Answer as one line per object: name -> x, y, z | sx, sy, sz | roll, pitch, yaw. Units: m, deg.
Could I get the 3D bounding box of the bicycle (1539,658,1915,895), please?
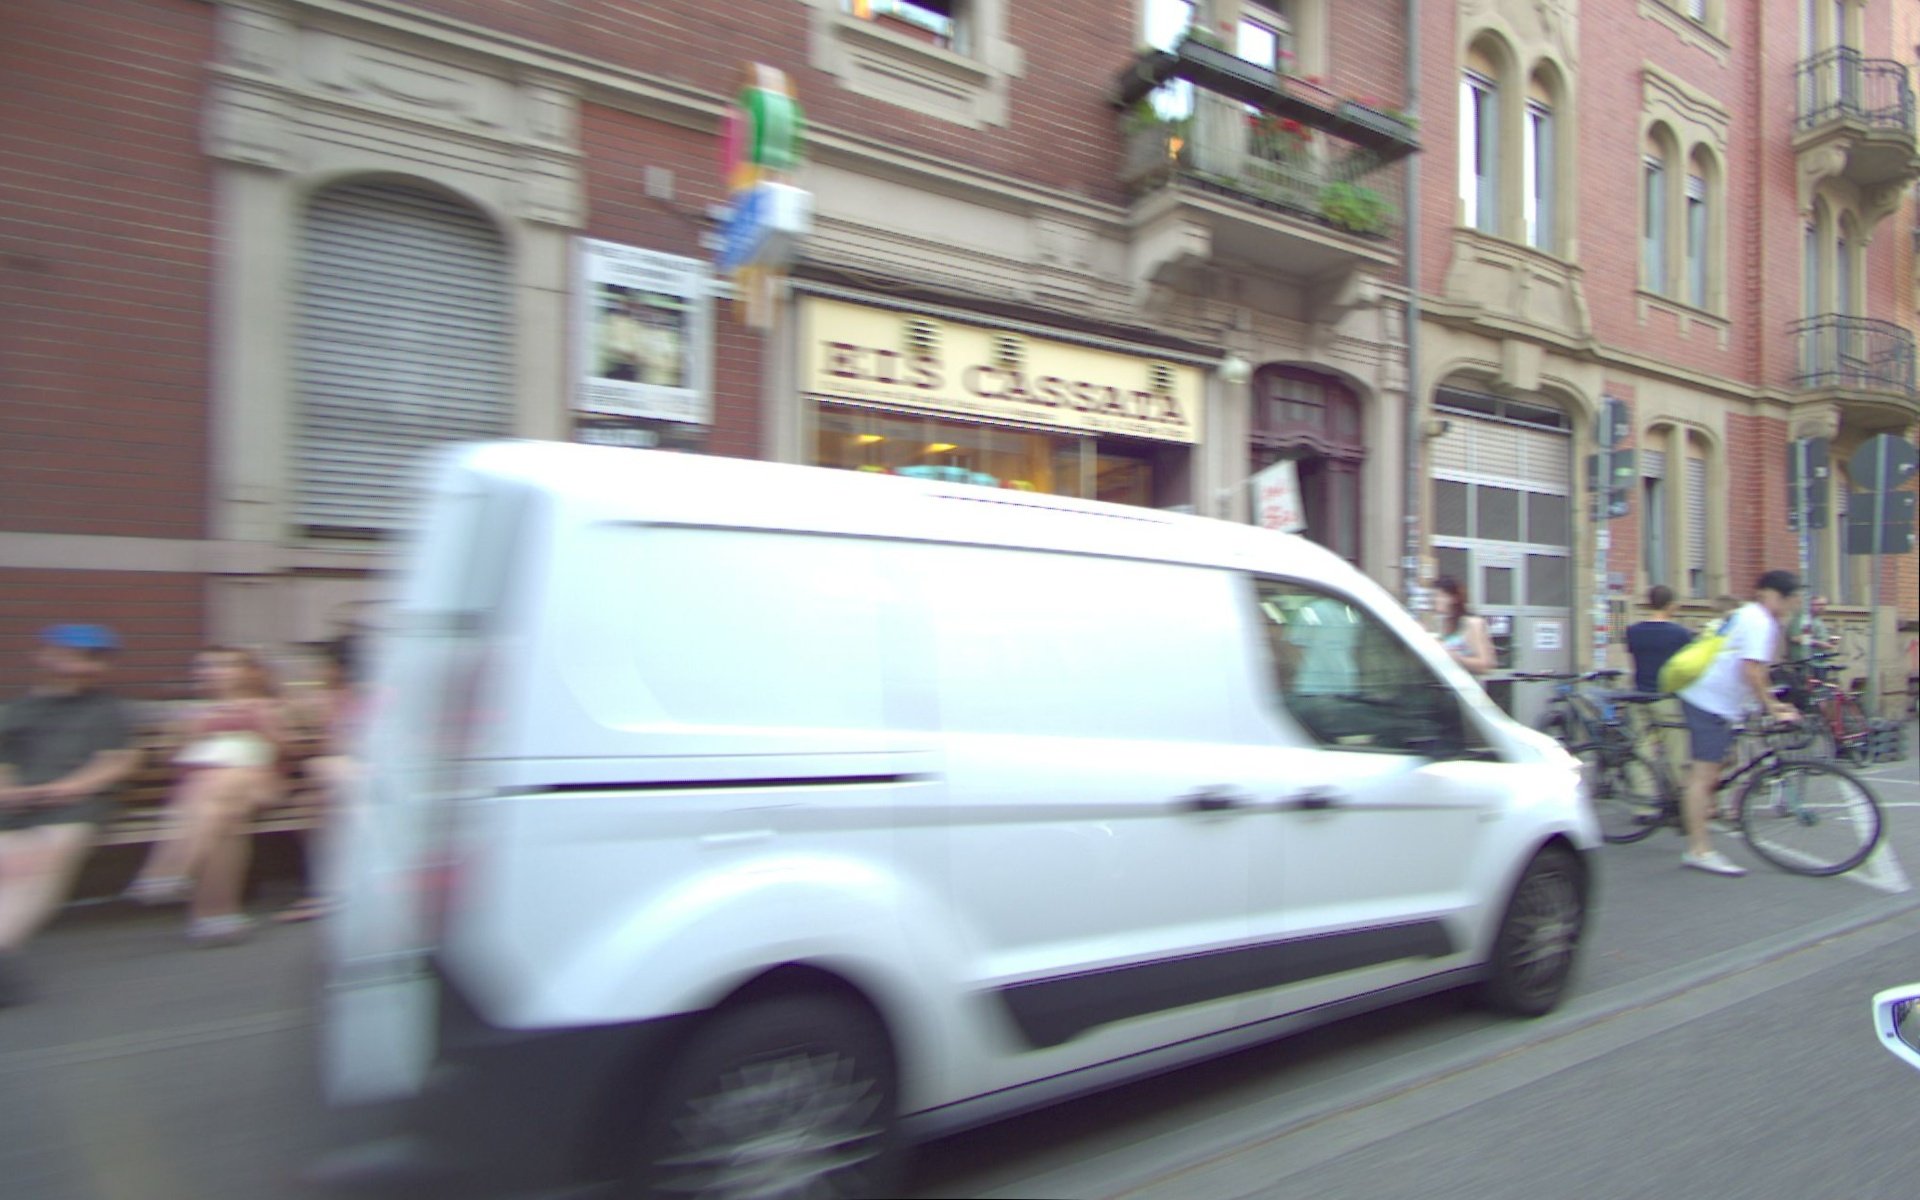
bicycle -> 4.635, 0.999, 6.197 | 1.755, 1.170, 0.518 | 2, 0, 39

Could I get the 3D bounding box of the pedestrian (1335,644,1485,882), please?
pedestrian -> 2.594, 0.902, 5.804 | 0.645, 1.267, 0.476 | 2, 0, -30

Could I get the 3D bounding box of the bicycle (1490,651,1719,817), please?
bicycle -> 5.050, 1.010, 7.835 | 1.972, 1.170, 0.464 | 2, 0, -23

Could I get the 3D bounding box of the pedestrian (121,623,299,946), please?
pedestrian -> -3.278, 0.732, 4.458 | 0.498, 1.219, 1.033 | 2, 0, -31

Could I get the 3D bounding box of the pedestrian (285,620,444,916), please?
pedestrian -> -2.816, 0.742, 4.769 | 0.579, 1.268, 0.615 | 2, 0, -32

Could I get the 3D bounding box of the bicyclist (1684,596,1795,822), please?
bicyclist -> 5.800, 0.786, 7.480 | 0.481, 1.611, 0.464 | 2, 0, -27

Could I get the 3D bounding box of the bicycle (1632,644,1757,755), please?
bicycle -> 8.323, 1.101, 11.357 | 1.815, 1.175, 0.410 | 2, 0, -29

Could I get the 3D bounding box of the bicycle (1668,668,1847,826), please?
bicycle -> 6.050, 1.073, 7.606 | 1.501, 1.082, 0.464 | 2, 0, -27

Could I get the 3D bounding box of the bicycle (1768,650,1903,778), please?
bicycle -> 8.742, 1.103, 10.008 | 1.815, 1.175, 0.410 | 2, 0, -29

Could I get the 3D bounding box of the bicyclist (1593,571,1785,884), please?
bicyclist -> 4.356, 0.708, 6.023 | 0.524, 1.726, 0.781 | 2, 0, -37

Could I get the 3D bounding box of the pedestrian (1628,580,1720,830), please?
pedestrian -> 5.146, 0.730, 7.243 | 0.347, 1.731, 0.415 | 2, 0, -35

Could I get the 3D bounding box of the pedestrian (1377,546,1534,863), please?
pedestrian -> 3.103, 0.613, 6.288 | 0.714, 1.838, 0.593 | 2, 0, -38

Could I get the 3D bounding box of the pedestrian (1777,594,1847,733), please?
pedestrian -> 11.417, 0.833, 13.463 | 0.633, 1.813, 0.461 | 2, 0, -27

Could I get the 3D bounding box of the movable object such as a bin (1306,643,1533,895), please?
movable object such as a bin -> 2.625, 0.903, 5.783 | 0.767, 1.267, 0.883 | 2, 0, -29

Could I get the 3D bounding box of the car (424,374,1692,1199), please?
car -> 0.654, 0.579, 3.724 | 4.536, 1.812, 1.761 | 2, -1, -32

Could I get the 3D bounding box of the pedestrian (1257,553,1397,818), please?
pedestrian -> 2.662, 0.608, 7.337 | 0.708, 1.838, 0.598 | 2, 0, -12

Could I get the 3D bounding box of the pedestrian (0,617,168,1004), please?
pedestrian -> -3.612, 0.700, 3.885 | 0.634, 1.219, 1.553 | 2, 0, -31
